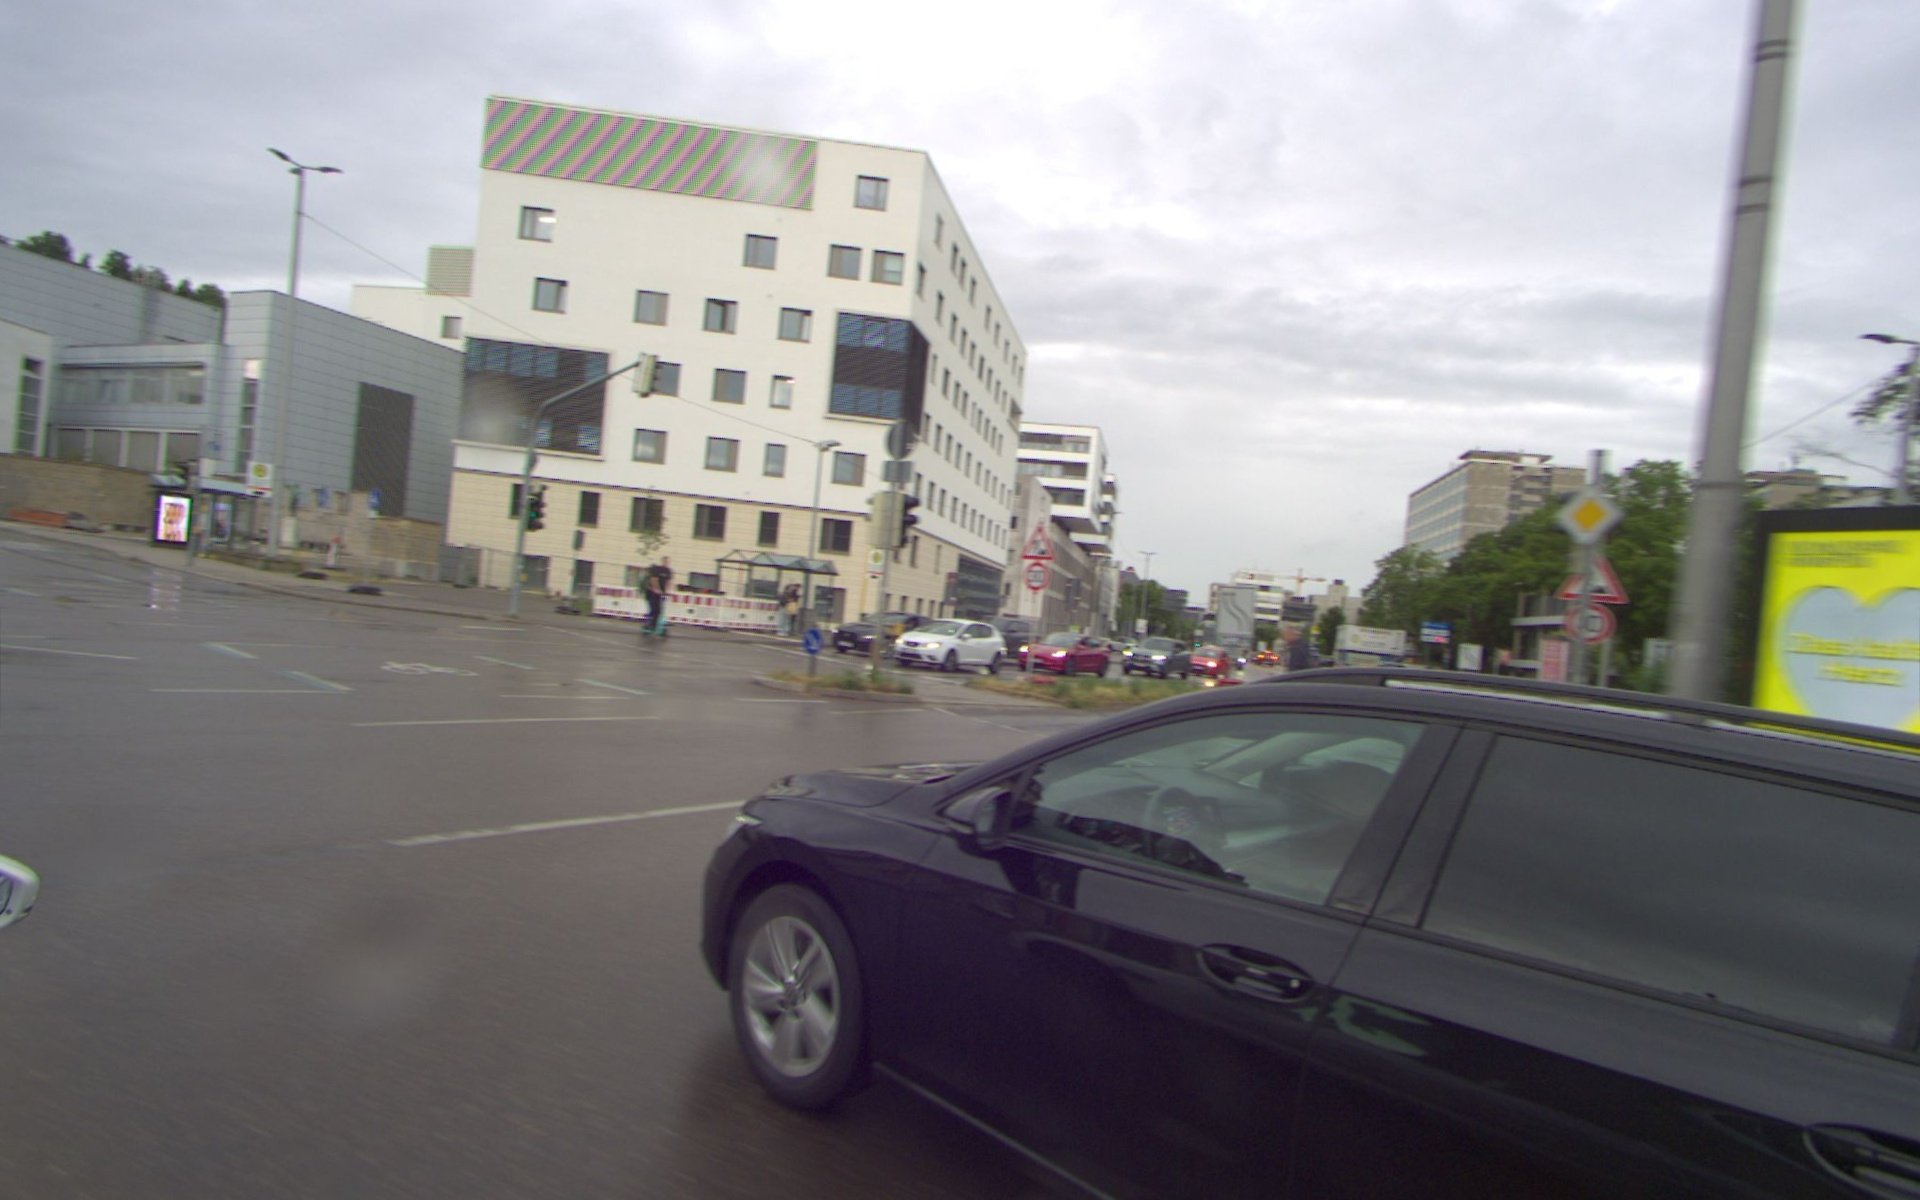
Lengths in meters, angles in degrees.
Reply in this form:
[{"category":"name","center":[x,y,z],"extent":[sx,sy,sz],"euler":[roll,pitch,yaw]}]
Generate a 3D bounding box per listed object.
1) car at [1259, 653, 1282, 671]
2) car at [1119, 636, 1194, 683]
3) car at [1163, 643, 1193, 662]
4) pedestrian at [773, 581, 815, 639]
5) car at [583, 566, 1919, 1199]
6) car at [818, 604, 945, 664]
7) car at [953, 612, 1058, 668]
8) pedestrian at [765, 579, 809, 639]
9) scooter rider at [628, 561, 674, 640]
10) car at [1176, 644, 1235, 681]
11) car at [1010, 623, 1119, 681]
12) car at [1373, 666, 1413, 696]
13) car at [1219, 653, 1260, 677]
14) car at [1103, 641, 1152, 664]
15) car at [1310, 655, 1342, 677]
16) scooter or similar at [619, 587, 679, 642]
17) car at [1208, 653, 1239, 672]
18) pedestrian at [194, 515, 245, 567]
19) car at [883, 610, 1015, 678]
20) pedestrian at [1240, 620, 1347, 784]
[{"category":"car","center":[34.837,6.972,112.962],"extent":[1.763,1.726,4.691],"euler":[7,-1,11]},{"category":"car","center":[8.310,2.546,42.226],"extent":[1.932,1.554,4.159],"euler":[7,-2,26]},{"category":"car","center":[19.514,4.693,90.183],"extent":[1.962,1.395,4.391],"euler":[7,-1,6]},{"category":"pedestrian","center":[-5.925,0.357,35.955],"extent":[0.996,1.957,0.946],"euler":[7,-2,-34]},{"category":"car","center":[0.924,0.882,2.674],"extent":[4.451,1.484,1.667],"euler":[7,0,43]},{"category":"car","center":[-2.319,1.082,30.811],"extent":[1.768,1.461,3.993],"euler":[6,-1,31]},{"category":"car","center":[1.763,1.543,37.417],"extent":[1.966,1.684,4.380],"euler":[6,-1,30]},{"category":"pedestrian","center":[-5.731,0.309,33.387],"extent":[0.811,1.861,0.952],"euler":[5,-2,35]},{"category":"scooter rider","center":[-7.931,0.017,25.822],"extent":[0.620,1.905,0.725],"euler":[5,-2,26]},{"category":"car","center":[12.411,3.194,50.695],"extent":[1.932,1.466,4.159],"euler":[7,-2,26]},{"category":"car","center":[3.690,1.845,34.770],"extent":[1.934,1.575,4.523],"euler":[6,-2,30]},{"category":"car","center":[33.040,6.161,76.861],"extent":[1.763,1.931,4.312],"euler":[7,-1,12]},{"category":"car","center":[21.161,4.892,76.424],"extent":[1.930,1.466,4.163],"euler":[7,-2,2]},{"category":"car","center":[15.137,4.713,90.964],"extent":[1.951,1.575,4.022],"euler":[9,-2,-37]},{"category":"car","center":[35.056,6.276,96.429],"extent":[1.962,1.830,4.793],"euler":[7,-2,11]},{"category":"scooter or similar","center":[-7.986,0.371,25.801],"extent":[1.290,1.253,0.593],"euler":[5,-2,25]},{"category":"car","center":[23.943,5.647,91.483],"extent":[1.930,1.466,4.164],"euler":[7,-2,5]},{"category":"pedestrian","center":[-28.049,-2.224,38.121],"extent":[1.004,1.739,1.255],"euler":[4,-3,45]},{"category":"car","center":[-0.227,1.290,28.606],"extent":[1.768,1.460,3.995],"euler":[6,-2,31]},{"category":"pedestrian","center":[4.224,1.279,12.719],"extent":[0.818,1.913,1.024],"euler":[5,-2,38]}]
